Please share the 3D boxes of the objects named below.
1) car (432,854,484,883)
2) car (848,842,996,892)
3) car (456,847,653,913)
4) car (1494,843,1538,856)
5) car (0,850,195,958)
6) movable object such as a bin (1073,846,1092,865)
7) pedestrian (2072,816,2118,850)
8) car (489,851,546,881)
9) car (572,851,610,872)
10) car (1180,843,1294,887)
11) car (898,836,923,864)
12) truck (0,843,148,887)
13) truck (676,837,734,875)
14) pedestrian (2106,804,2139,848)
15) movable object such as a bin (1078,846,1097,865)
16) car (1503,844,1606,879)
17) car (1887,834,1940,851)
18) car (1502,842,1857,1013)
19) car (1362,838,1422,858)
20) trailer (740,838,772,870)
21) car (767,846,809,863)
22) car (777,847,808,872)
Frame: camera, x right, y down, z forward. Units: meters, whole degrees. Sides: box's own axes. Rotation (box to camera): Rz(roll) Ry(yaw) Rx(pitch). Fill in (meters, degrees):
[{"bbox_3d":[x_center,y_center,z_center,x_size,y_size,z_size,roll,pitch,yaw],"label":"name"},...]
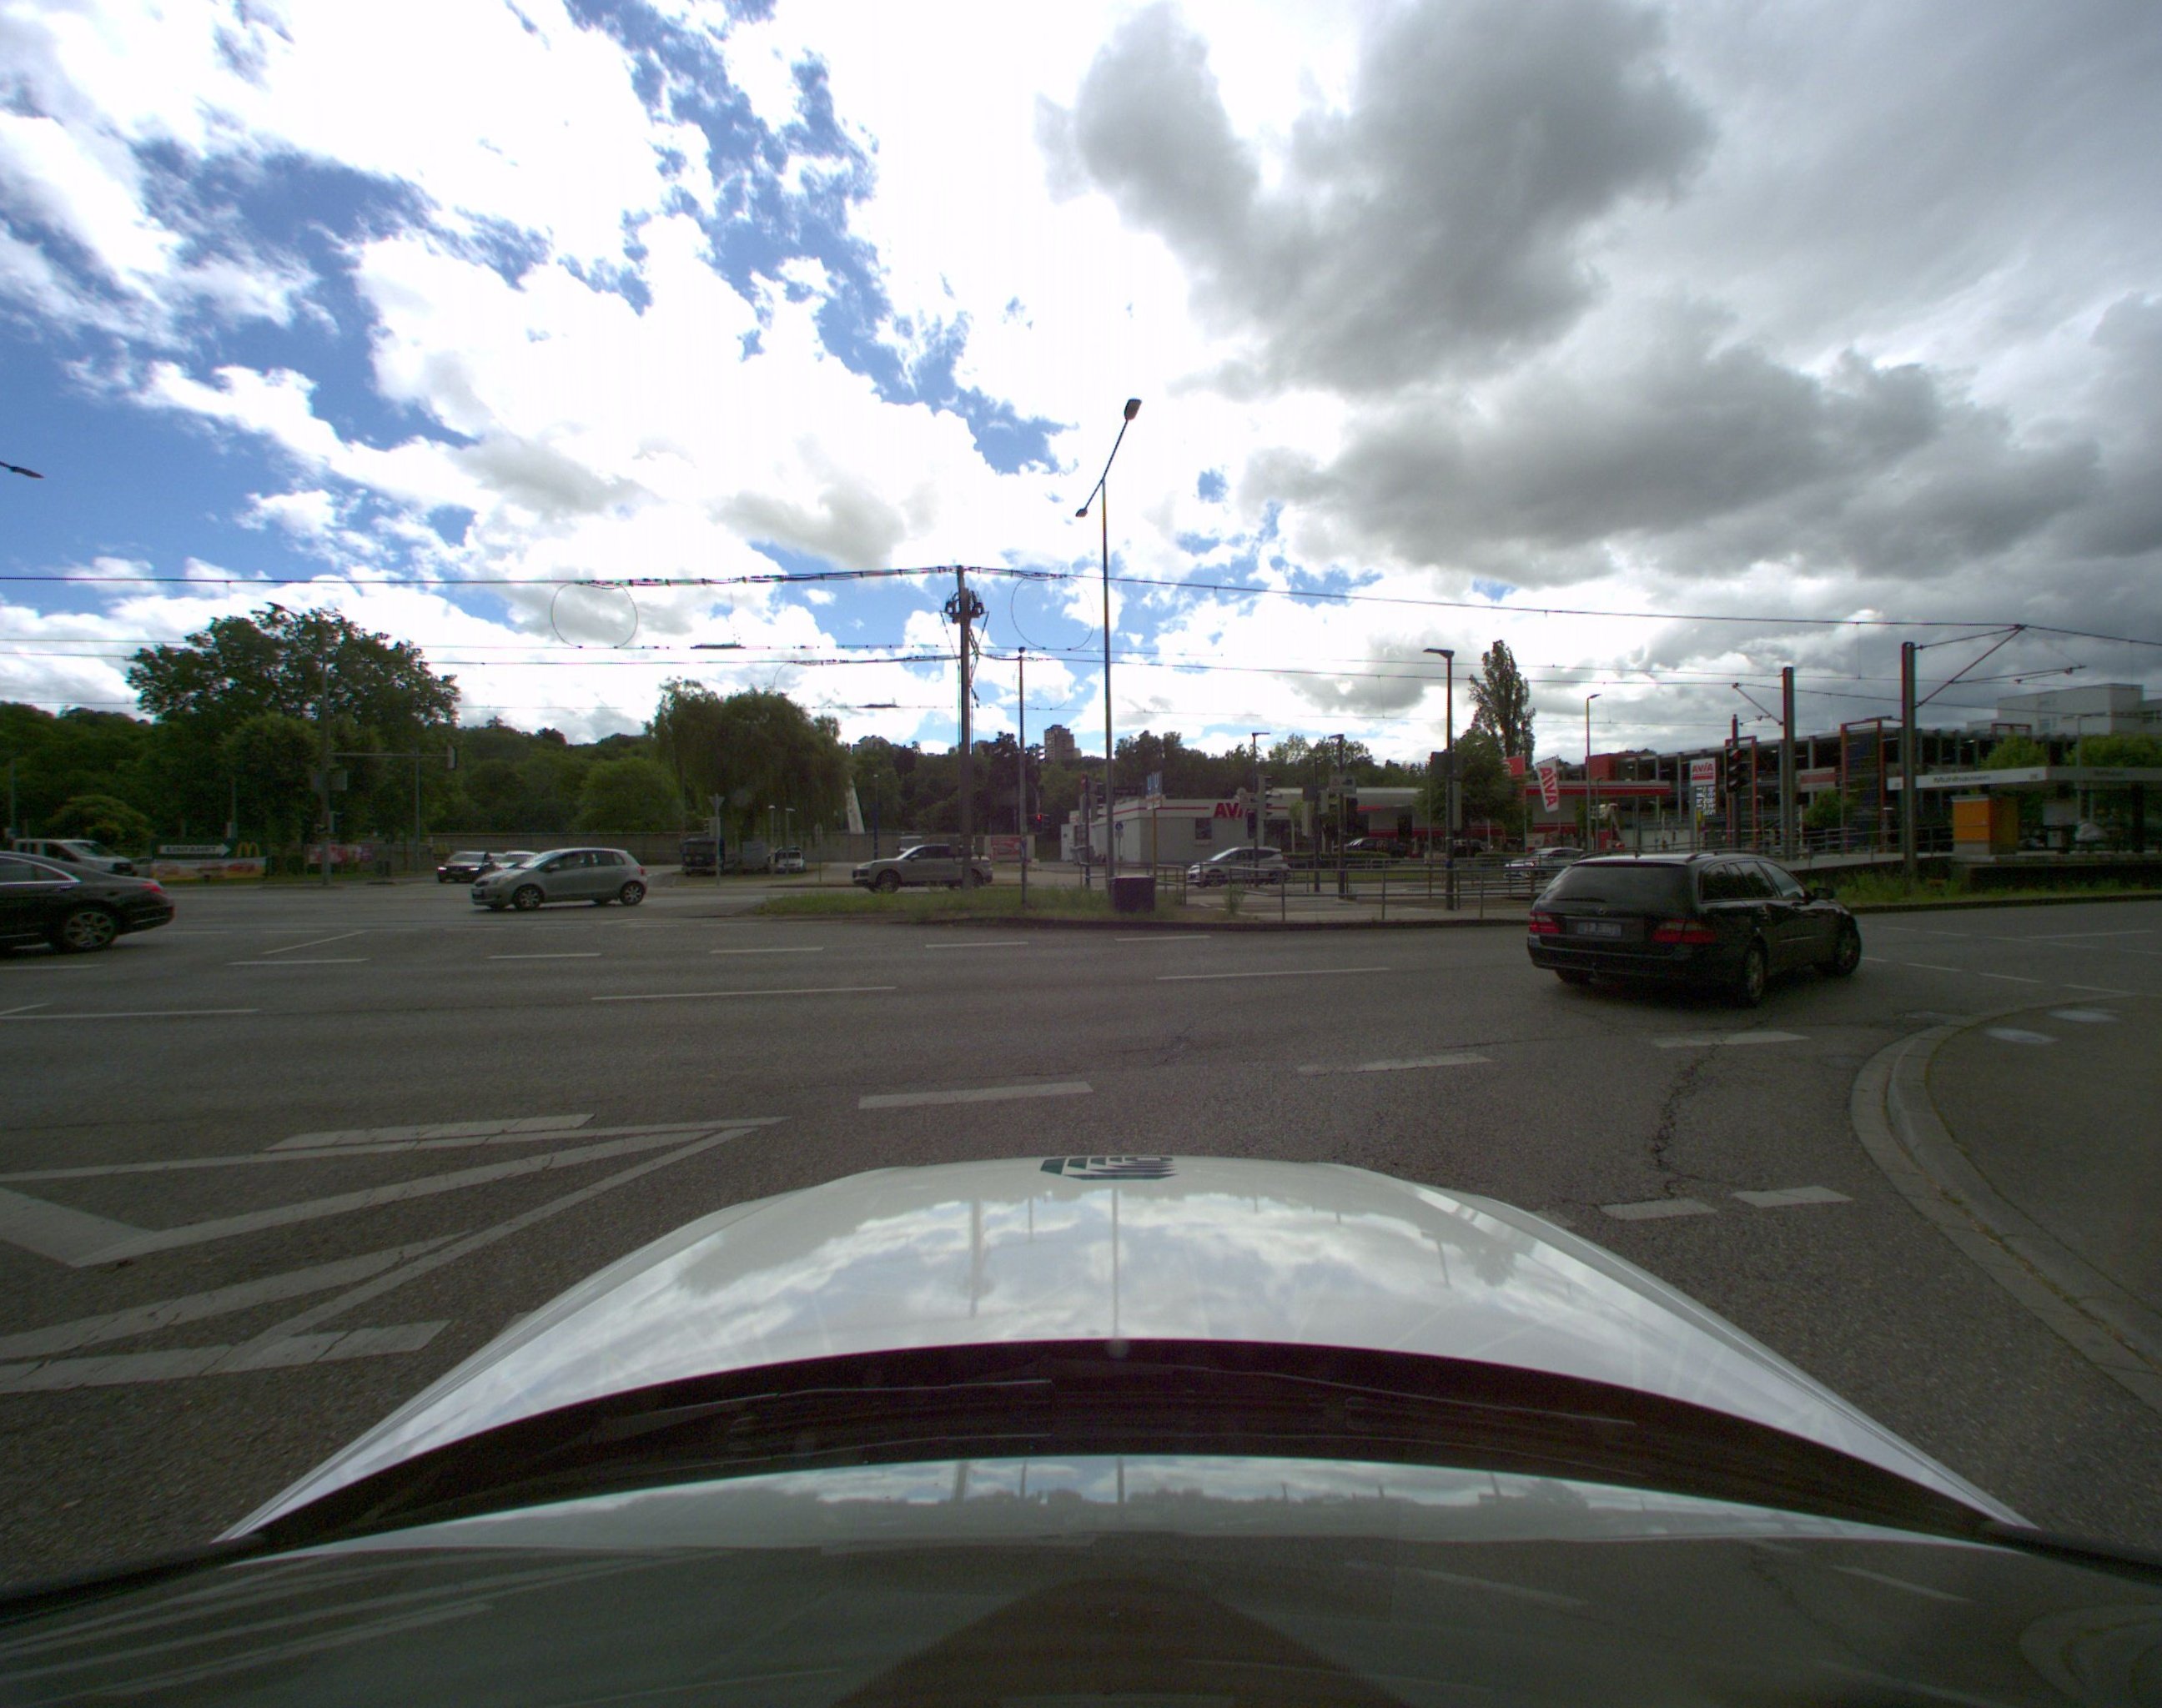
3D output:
[{"bbox_3d":[-32.898,0.750,42.982,1.806,1.432,3.597,-1,1,-44],"label":"car"},{"bbox_3d":[-5.591,0.429,28.729,4.863,1.642,1.663,-1,0,-25],"label":"car"},{"bbox_3d":[-13.112,0.579,20.505,1.655,1.487,3.813,0,0,34],"label":"car"},{"bbox_3d":[46.879,-0.453,87.765,4.053,1.365,1.905,0,-1,-16],"label":"car"},{"bbox_3d":[-15.561,0.684,10.741,1.813,1.450,5.010,0,0,11],"label":"car"},{"bbox_3d":[0.100,0.156,64.241,1.367,1.484,1.102,0,-1,-8],"label":"movable object such as a bin"},{"bbox_3d":[35.990,-0.747,28.908,0.726,1.189,0.769,0,0,-11],"label":"pedestrian"},{"bbox_3d":[-29.213,0.569,42.369,1.800,1.432,4.380,-1,1,-26],"label":"car"},{"bbox_3d":[-36.227,0.538,60.300,1.798,1.432,4.252,0,0,-22],"label":"car"},{"bbox_3d":[6.189,0.412,32.423,4.115,1.641,1.743,0,0,-13],"label":"car"},{"bbox_3d":[-13.591,-0.288,64.791,1.843,2.052,4.360,0,-1,-14],"label":"car"},{"bbox_3d":[-47.034,0.509,36.671,6.187,1.905,2.588,0,-1,-15],"label":"truck"},{"bbox_3d":[-25.734,0.132,55.975,2.380,2.494,5.801,0,0,-12],"label":"truck"},{"bbox_3d":[39.291,-1.058,30.726,0.585,1.620,0.569,0,-1,-14],"label":"pedestrian"},{"bbox_3d":[0.487,0.116,62.409,1.367,1.494,1.102,0,-1,-8],"label":"movable object such as a bin"},{"bbox_3d":[20.492,0.322,35.279,3.821,1.454,1.625,0,0,-13],"label":"car"},{"bbox_3d":[79.607,-1.094,77.883,3.993,1.539,1.774,-1,-1,-15],"label":"car"},{"bbox_3d":[6.803,0.632,9.114,4.433,1.478,1.820,-1,0,-34],"label":"car"},{"bbox_3d":[21.651,-0.419,56.748,3.627,1.350,1.611,-1,0,-13],"label":"car"},{"bbox_3d":[-23.472,0.046,58.952,1.557,2.258,4.371,0,-1,-14],"label":"trailer"},{"bbox_3d":[-27.692,0.082,77.009,3.645,1.554,1.714,0,-1,-23],"label":"car"},{"bbox_3d":[-20.665,0.367,58.465,1.753,1.743,3.837,0,0,-15],"label":"car"}]
